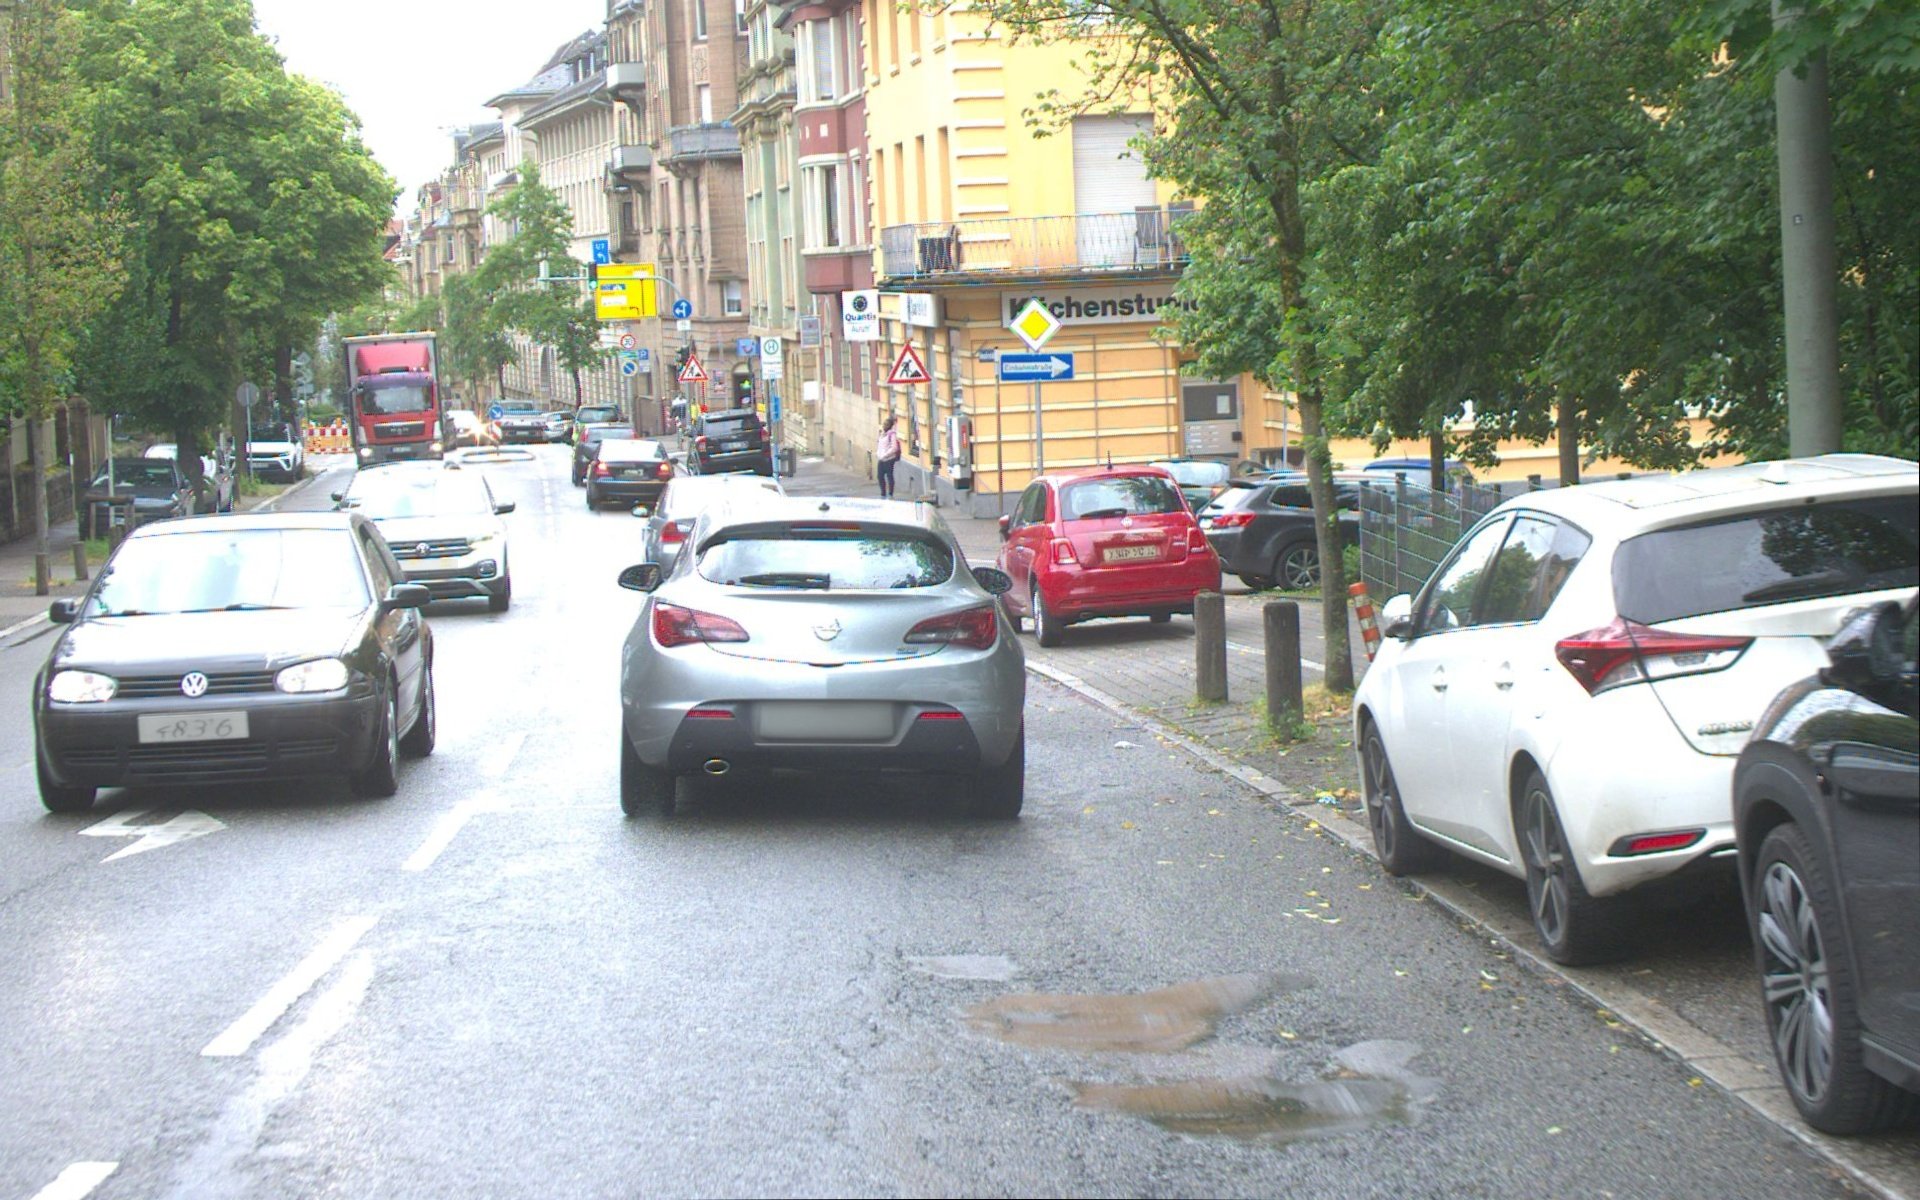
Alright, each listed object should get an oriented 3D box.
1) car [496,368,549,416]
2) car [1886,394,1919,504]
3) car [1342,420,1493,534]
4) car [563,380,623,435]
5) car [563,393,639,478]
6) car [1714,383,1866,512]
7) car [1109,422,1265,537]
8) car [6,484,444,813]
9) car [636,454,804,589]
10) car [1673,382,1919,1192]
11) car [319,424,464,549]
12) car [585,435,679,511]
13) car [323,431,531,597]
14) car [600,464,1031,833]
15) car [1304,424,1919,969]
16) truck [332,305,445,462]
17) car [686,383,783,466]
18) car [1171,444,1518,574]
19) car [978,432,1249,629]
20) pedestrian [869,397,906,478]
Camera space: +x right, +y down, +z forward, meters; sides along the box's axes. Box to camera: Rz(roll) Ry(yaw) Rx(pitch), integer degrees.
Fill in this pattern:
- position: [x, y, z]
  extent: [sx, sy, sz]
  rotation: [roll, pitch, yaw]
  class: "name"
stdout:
- position: [-18.189, -8.647, 142.941]
  extent: [1.781, 1.848, 4.001]
  rotation: [-2, 2, -12]
  class: "car"
- position: [14.590, -2.234, 50.077]
  extent: [1.778, 1.424, 3.783]
  rotation: [0, 5, 21]
  class: "car"
- position: [6.664, -1.807, 49.850]
  extent: [1.777, 1.424, 3.784]
  rotation: [0, 5, 14]
  class: "car"
- position: [-10.976, -5.736, 102.672]
  extent: [1.640, 1.531, 3.718]
  rotation: [-3, 3, -7]
  class: "car"
- position: [-8.484, -3.900, 81.150]
  extent: [1.640, 1.683, 3.719]
  rotation: [-3, 7, -7]
  class: "car"
- position: [11.933, -2.211, 49.300]
  extent: [1.778, 1.660, 3.783]
  rotation: [0, 5, 19]
  class: "car"
- position: [3.214, -1.713, 48.157]
  extent: [1.777, 1.424, 3.785]
  rotation: [0, 4, 10]
  class: "car"
- position: [-3.715, 0.158, 17.999]
  extent: [1.660, 1.443, 3.994]
  rotation: [-3, 2, -4]
  class: "car"
- position: [-2.733, -0.914, 38.800]
  extent: [1.776, 1.425, 3.787]
  rotation: [-1, 2, -5]
  class: "car"
- position: [2.850, 0.319, 6.132]
  extent: [1.976, 1.603, 4.485]
  rotation: [-5, 2, -2]
  class: "car"
- position: [-8.178, -1.666, 49.634]
  extent: [1.622, 1.645, 3.144]
  rotation: [-4, 3, -3]
  class: "car"
- position: [-6.566, -2.554, 68.558]
  extent: [1.767, 1.410, 3.718]
  rotation: [-1, 3, -7]
  class: "car"
- position: [-5.943, -1.016, 38.747]
  extent: [1.822, 1.645, 4.001]
  rotation: [-4, 3, -3]
  class: "car"
- position: [-0.708, 0.130, 16.861]
  extent: [1.814, 1.424, 4.001]
  rotation: [-2, 4, -2]
  class: "car"
- position: [2.619, 0.183, 11.862]
  extent: [1.975, 1.447, 4.115]
  rotation: [-5, 2, -5]
  class: "car"
- position: [-16.365, -6.361, 98.972]
  extent: [2.788, 4.117, 10.857]
  rotation: [-4, 5, -8]
  class: "truck"
- position: [-5.403, -4.182, 82.028]
  extent: [1.993, 1.683, 4.001]
  rotation: [-8, 3, -5]
  class: "car"
- position: [4.574, -1.083, 41.161]
  extent: [3.772, 1.425, 1.782]
  rotation: [1, 1, -7]
  class: "car"
- position: [1.319, -0.655, 31.173]
  extent: [1.815, 1.462, 4.001]
  rotation: [-7, 2, -4]
  class: "car"
- position: [-1.379, -3.094, 65.281]
  extent: [0.613, 1.491, 0.553]
  rotation: [-2, 5, -3]
  class: "pedestrian"
